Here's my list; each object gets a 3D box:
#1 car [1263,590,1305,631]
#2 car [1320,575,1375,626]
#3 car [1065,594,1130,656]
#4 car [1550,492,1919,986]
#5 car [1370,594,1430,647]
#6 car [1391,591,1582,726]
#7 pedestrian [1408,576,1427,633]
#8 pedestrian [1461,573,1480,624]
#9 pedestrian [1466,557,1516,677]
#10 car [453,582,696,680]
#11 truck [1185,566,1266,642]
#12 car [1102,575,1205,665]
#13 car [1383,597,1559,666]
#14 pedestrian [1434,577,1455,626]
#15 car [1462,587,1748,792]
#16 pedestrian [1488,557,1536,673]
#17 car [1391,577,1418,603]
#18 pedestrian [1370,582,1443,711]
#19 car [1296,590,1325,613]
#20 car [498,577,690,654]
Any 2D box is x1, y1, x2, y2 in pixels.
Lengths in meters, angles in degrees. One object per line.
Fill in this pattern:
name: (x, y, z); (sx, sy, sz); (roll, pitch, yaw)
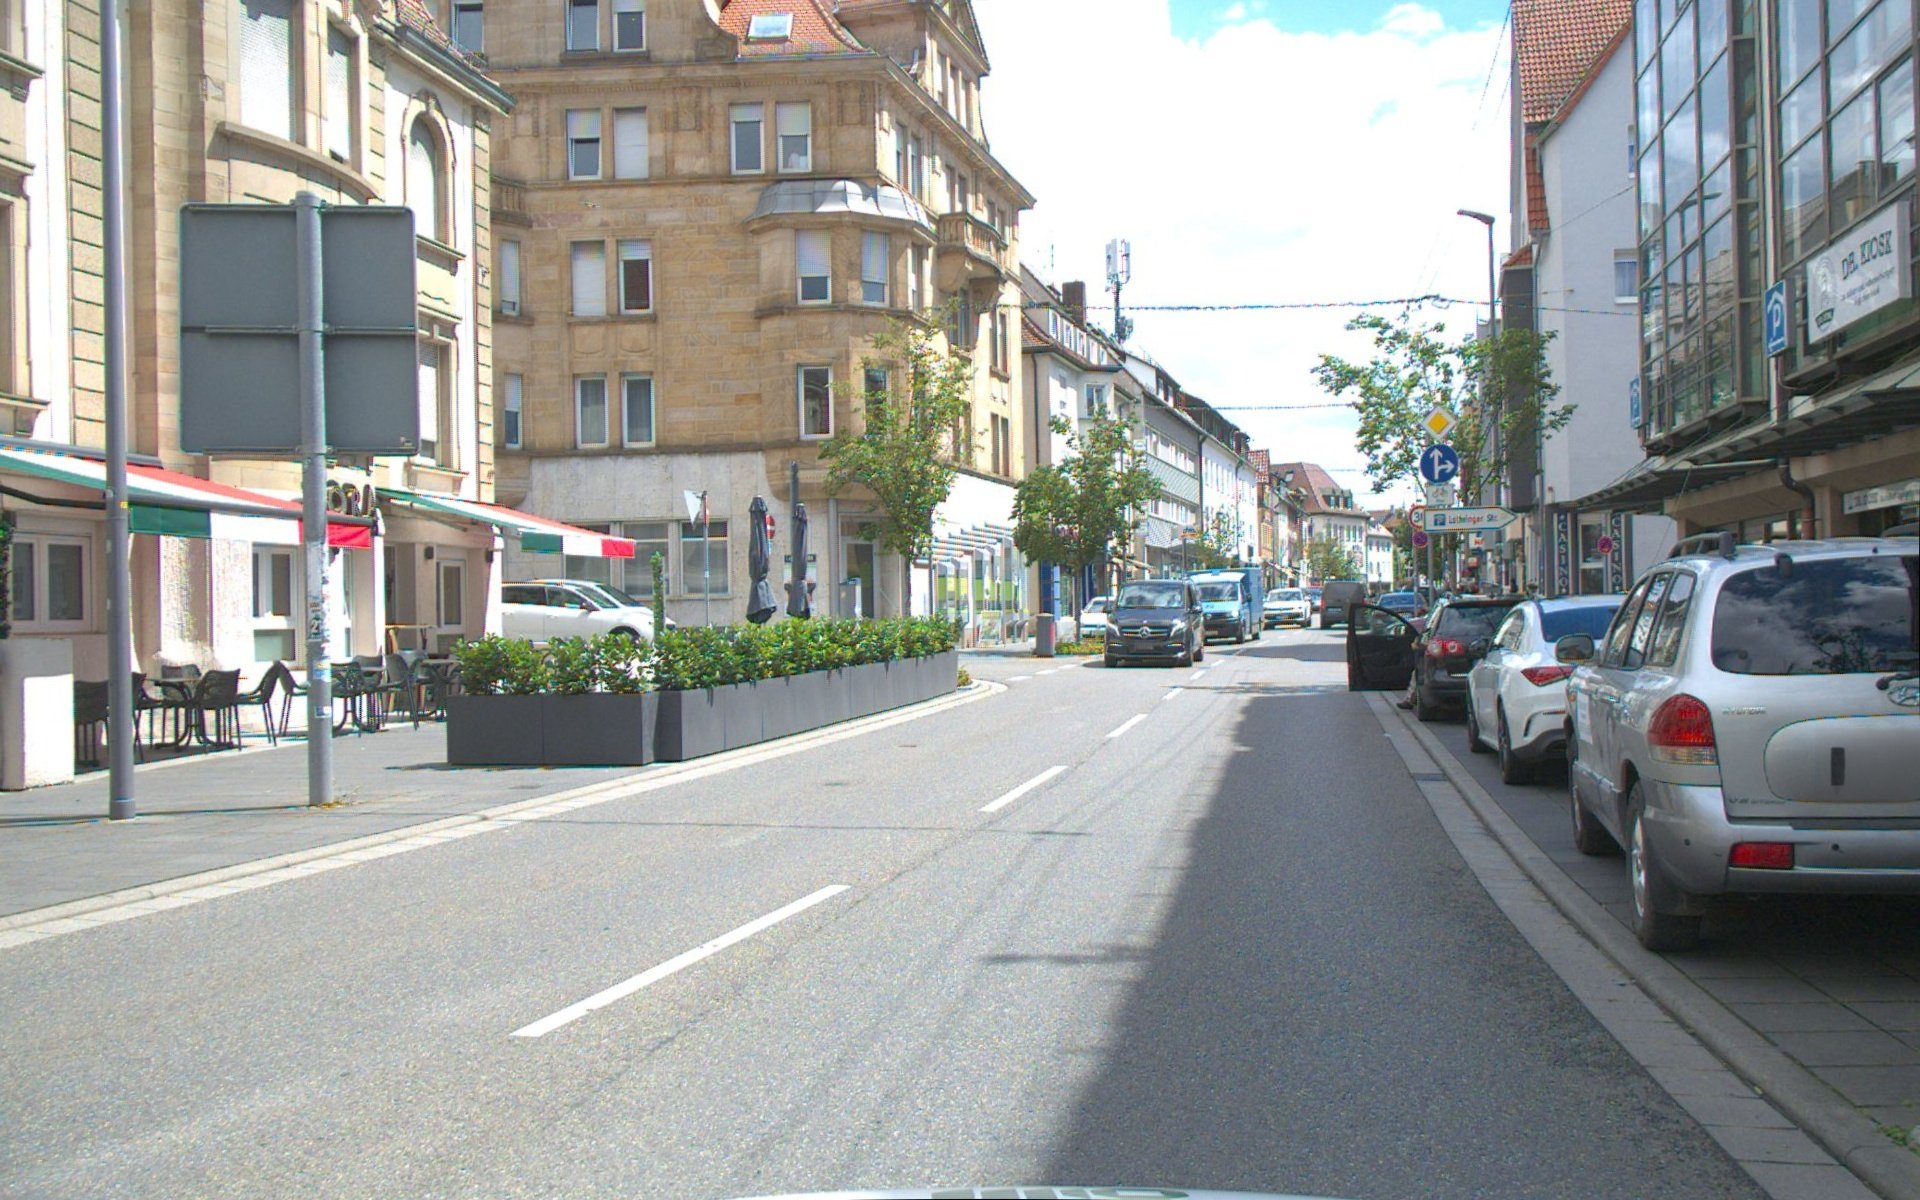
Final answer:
car: (13.491, 0.427, 68.911); (1.661, 1.613, 3.961); (-1, 0, 11)
car: (15.476, -0.017, 65.908); (1.929, 1.908, 5.041); (-1, 0, 15)
car: (4.127, 0.703, 49.143); (1.673, 1.742, 4.003); (-1, 0, 8)
car: (3.985, 0.494, 7.942); (1.785, 1.761, 4.236); (-2, -1, 15)
car: (12.726, 0.571, 47.947); (1.488, 1.459, 3.373); (-1, 0, 12)
car: (6.339, 0.639, 20.318); (1.571, 1.459, 4.178); (-1, 0, 9)
pedestrian: (16.784, 0.165, 60.696); (0.668, 2.049, 0.599); (0, 0, 16)
pedestrian: (20.783, -0.067, 67.352); (0.667, 2.049, 0.599); (0, 0, 10)
pedestrian: (9.201, 0.301, 28.668); (0.674, 2.049, 0.724); (-1, -1, 8)
car: (-7.456, 0.586, 32.337); (4.331, 1.807, 1.999); (-1, 0, -4)
truck: (8.289, 0.099, 51.244); (2.022, 2.203, 5.298); (-1, 0, 14)
car: (4.361, 0.425, 36.681); (1.795, 1.867, 4.574); (-1, 0, 12)
car: (11.153, 0.677, 36.271); (3.543, 1.438, 1.591); (0, -1, 12)
pedestrian: (19.027, 0.071, 64.957); (0.561, 1.923, 0.643); (1, -1, -14)
car: (5.304, 0.646, 14.096); (1.586, 1.459, 4.243); (-1, 0, 12)
pedestrian: (9.950, 0.267, 29.825); (0.674, 2.049, 0.724); (-1, -1, 8)
car: (41.374, -0.939, 153.933); (2.022, 2.341, 4.225); (0, -1, 20)
pedestrian: (5.744, 0.588, 21.277); (0.672, 1.622, 0.657); (1, -1, -41)
car: (24.677, 0.116, 116.650); (1.951, 1.613, 4.003); (-1, 0, 11)
car: (-8.435, 0.345, 38.265); (3.902, 1.691, 1.910); (-1, 0, 7)
